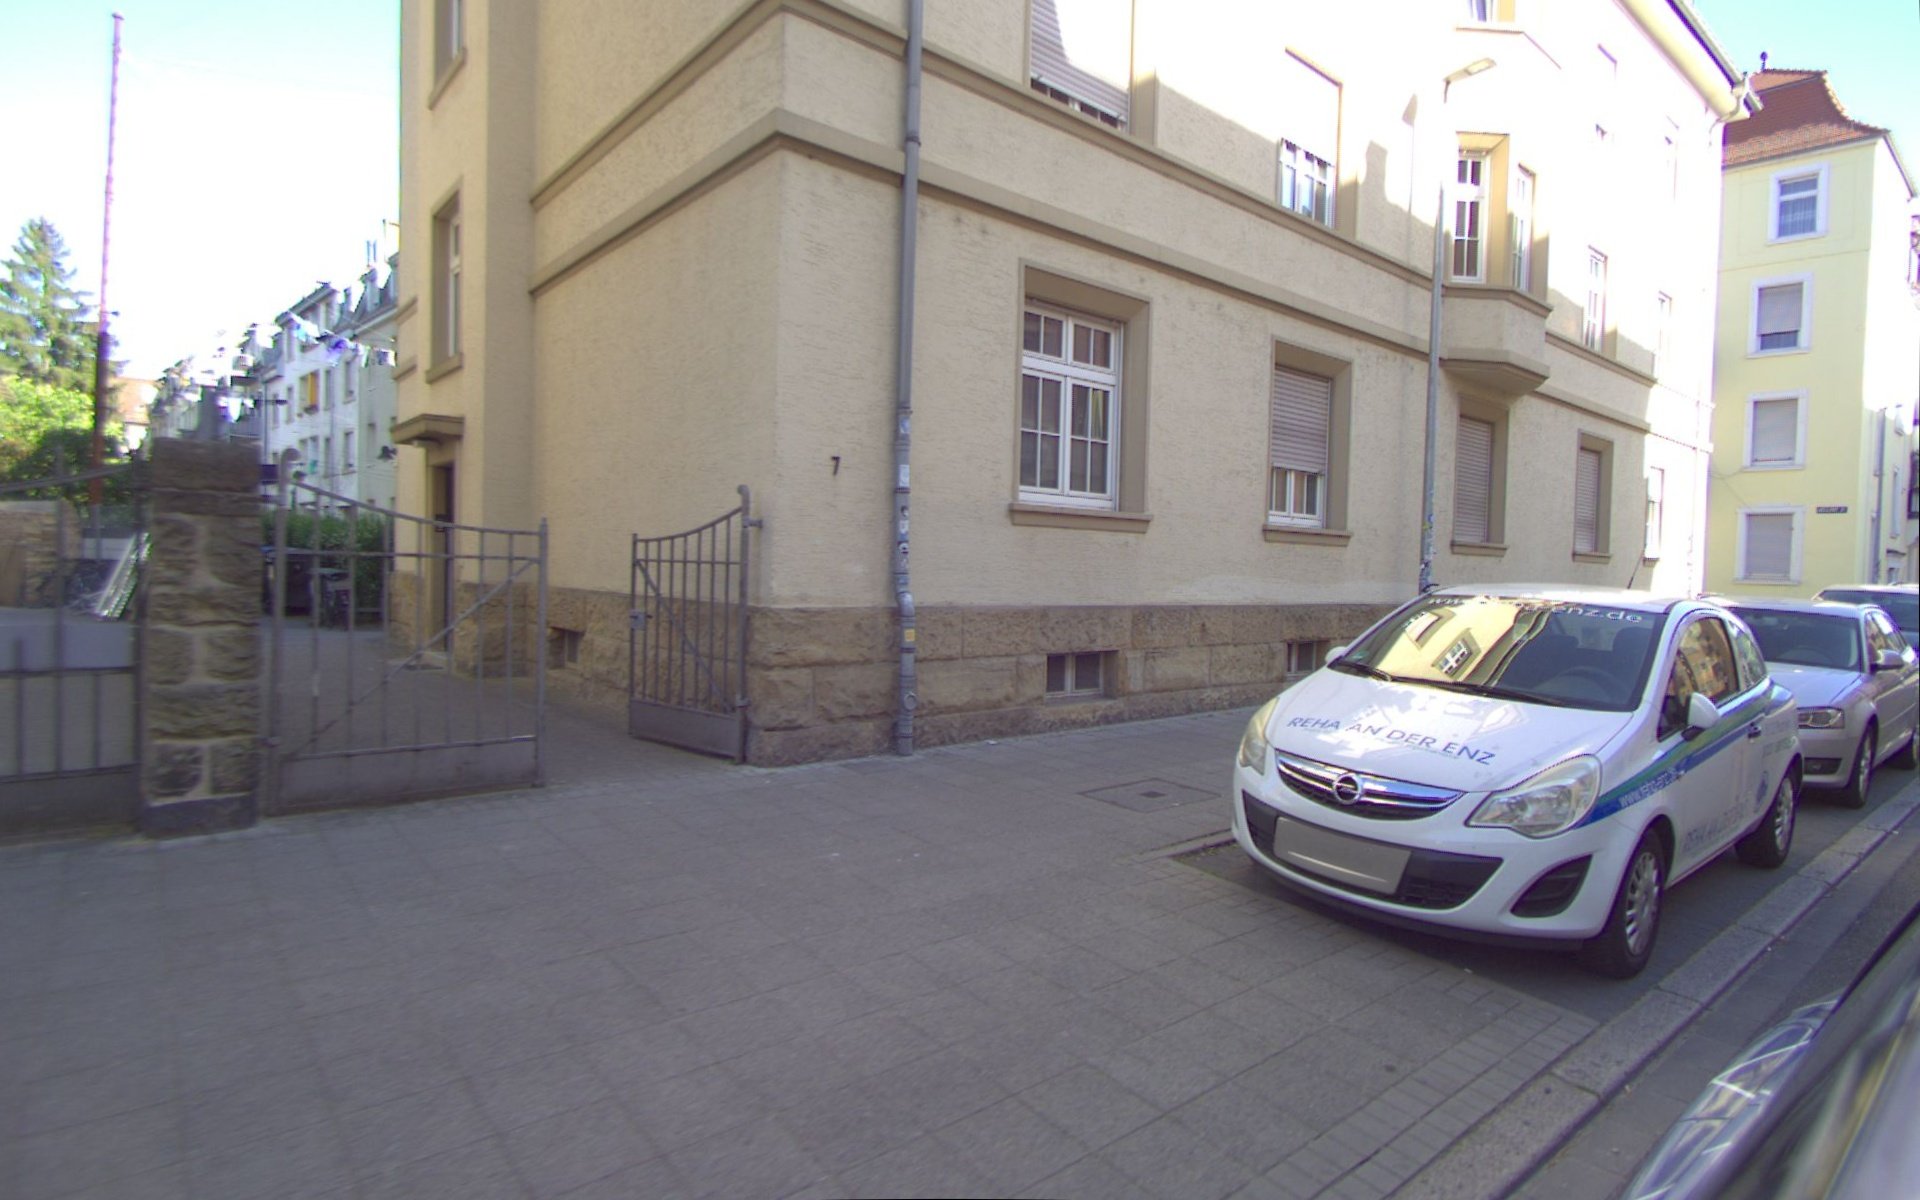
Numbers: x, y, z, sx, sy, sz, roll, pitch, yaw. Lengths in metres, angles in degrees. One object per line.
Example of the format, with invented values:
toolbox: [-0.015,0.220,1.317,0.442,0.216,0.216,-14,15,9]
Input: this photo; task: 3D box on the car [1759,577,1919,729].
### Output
car: [11.428,0.573,12.388,3.843,1.565,1.685,1,3,-38]

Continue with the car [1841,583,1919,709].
car: [14.848,0.654,15.081,4.353,1.685,1.791,0,2,-38]

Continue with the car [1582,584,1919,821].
car: [6.899,0.661,8.505,4.022,1.482,1.656,0,2,-40]

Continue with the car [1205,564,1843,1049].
car: [2.956,0.630,4.966,3.647,1.482,1.589,0,2,-42]

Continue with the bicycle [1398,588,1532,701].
bicycle: [6.028,0.484,12.035,0.830,1.216,1.924,2,2,45]
